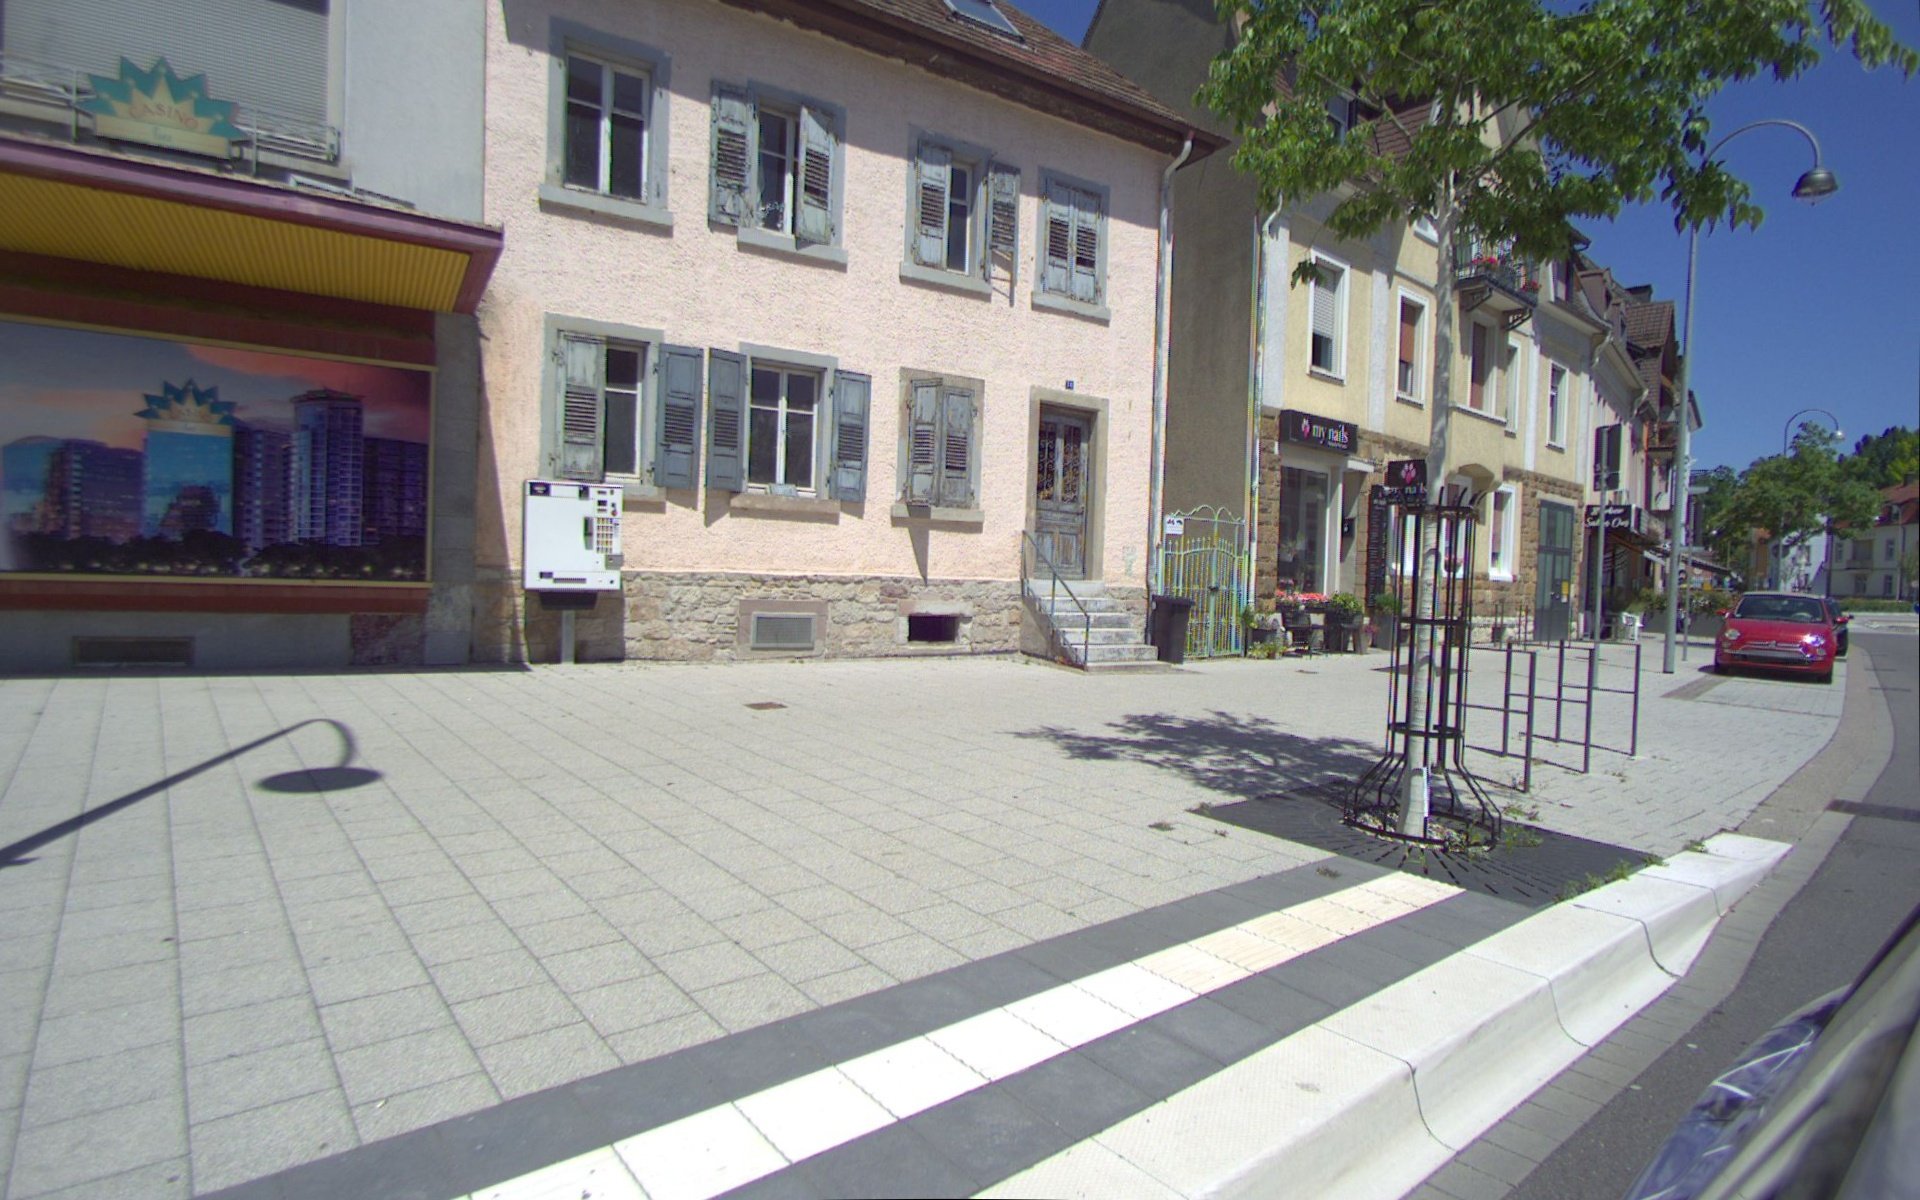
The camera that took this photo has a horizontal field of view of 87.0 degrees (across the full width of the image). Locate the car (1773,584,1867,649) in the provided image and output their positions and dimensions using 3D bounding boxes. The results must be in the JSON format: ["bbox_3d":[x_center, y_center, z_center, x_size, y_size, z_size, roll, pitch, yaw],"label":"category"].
[{"bbox_3d":[23.287,0.387,27.497,1.729,1.490,4.262,6,4,39],"label":"car"}]

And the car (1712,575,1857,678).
[{"bbox_3d":[14.590,0.400,17.853,1.680,1.532,3.334,6,4,43],"label":"car"}]
